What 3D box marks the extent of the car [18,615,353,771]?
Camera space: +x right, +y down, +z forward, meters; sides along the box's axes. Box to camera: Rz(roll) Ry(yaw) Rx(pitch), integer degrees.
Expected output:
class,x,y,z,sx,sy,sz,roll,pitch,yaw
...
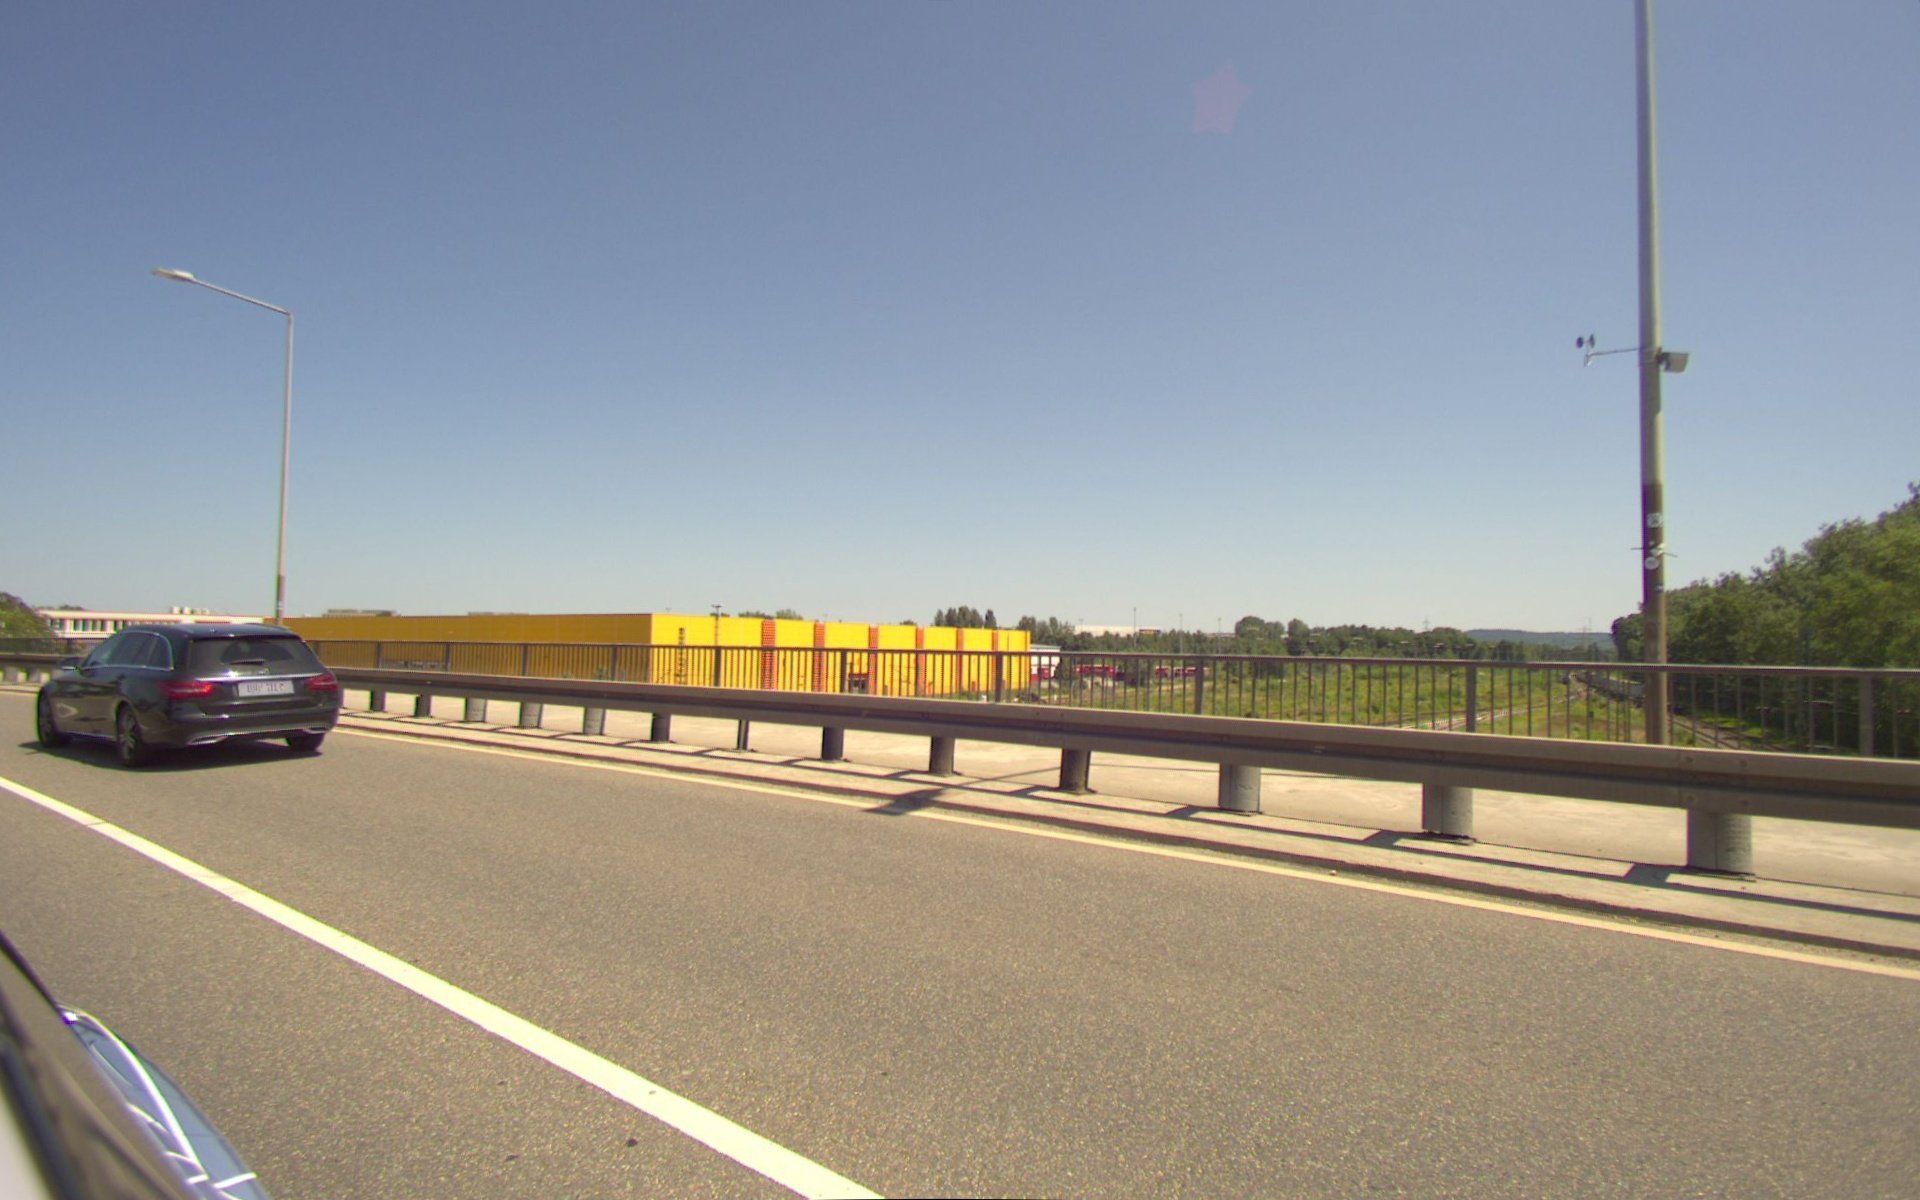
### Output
class,x,y,z,sx,sy,sz,roll,pitch,yaw
car,-8.809,0.913,11.396,4.381,1.449,1.757,-1,-1,35
